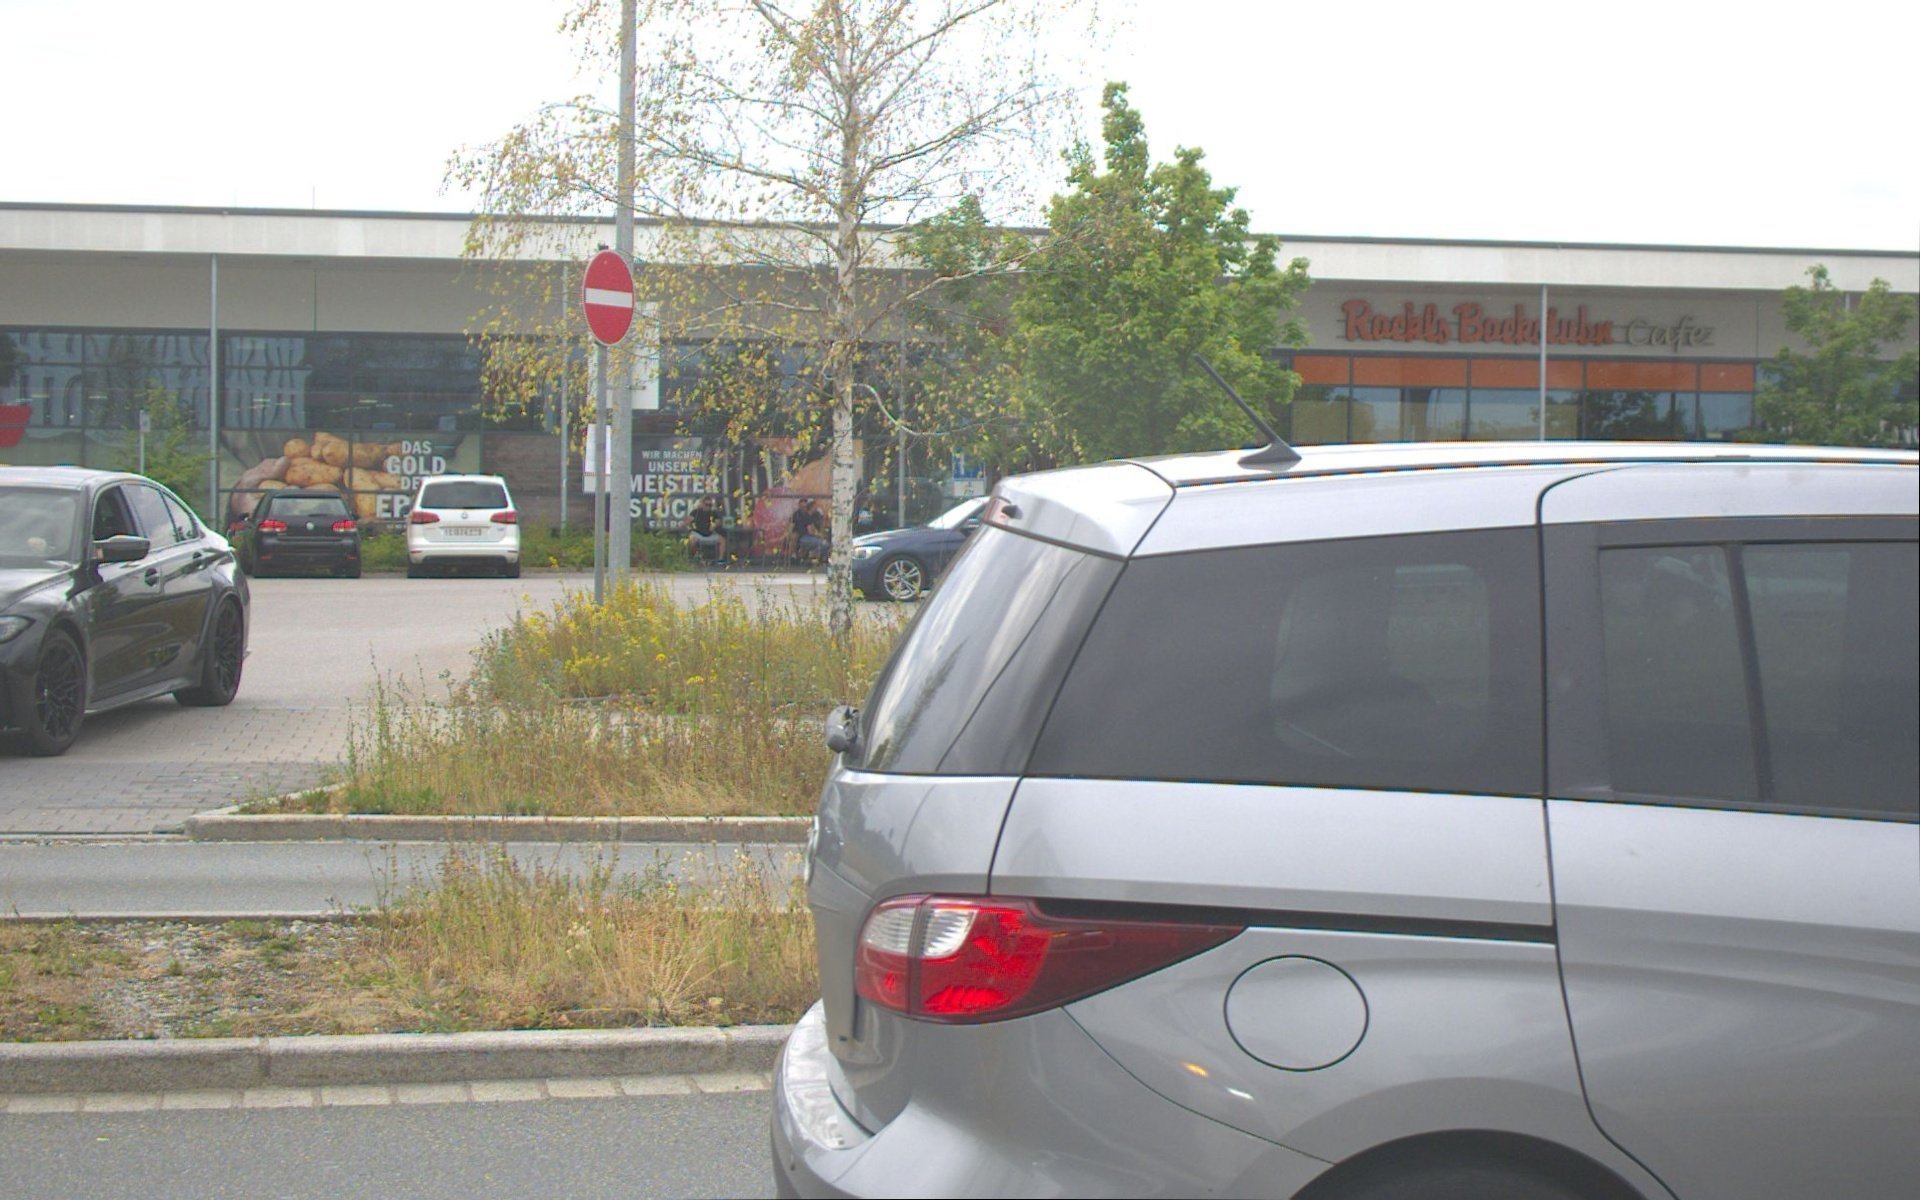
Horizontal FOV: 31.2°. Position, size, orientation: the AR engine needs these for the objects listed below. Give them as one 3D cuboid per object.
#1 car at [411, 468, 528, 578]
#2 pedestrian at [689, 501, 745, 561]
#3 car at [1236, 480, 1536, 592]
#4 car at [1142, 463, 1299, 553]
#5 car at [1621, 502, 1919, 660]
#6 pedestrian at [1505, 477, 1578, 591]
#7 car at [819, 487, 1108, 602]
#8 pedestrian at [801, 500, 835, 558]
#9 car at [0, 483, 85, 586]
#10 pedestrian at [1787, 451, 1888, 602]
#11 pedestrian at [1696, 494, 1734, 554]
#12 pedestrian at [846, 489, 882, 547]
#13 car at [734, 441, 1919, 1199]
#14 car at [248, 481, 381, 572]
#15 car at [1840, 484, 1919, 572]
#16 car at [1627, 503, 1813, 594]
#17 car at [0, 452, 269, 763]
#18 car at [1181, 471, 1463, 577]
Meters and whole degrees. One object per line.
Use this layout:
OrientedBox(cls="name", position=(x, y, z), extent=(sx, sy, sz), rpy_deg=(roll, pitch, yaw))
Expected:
OrientedBox(cls="car", position=(-8.236, -1.326, 57.955), extent=(1.823, 1.694, 4.235), rpy_deg=(1, 3, -7))
OrientedBox(cls="pedestrian", position=(-4.820, -1.374, 68.042), extent=(0.970, 1.150, 1.133), rpy_deg=(0, 2, -11))
OrientedBox(cls="car", position=(5.829, -0.884, 47.194), extent=(3.746, 1.449, 1.668), rpy_deg=(1, 2, -9))
OrientedBox(cls="car", position=(4.537, -1.636, 60.454), extent=(1.993, 1.503, 4.001), rpy_deg=(0, 2, -7))
OrientedBox(cls="car", position=(7.782, -0.220, 32.874), extent=(1.988, 1.379, 4.150), rpy_deg=(1, 2, -1))
OrientedBox(cls="pedestrian", position=(8.491, -0.968, 50.210), extent=(0.821, 1.626, 0.899), rpy_deg=(1, 1, -4))
OrientedBox(cls="car", position=(0.027, -0.755, 45.925), extent=(3.606, 1.449, 1.668), rpy_deg=(1, 2, -10))
OrientedBox(cls="pedestrian", position=(-2.807, -1.407, 67.823), extent=(0.576, 1.120, 0.562), rpy_deg=(0, 2, -13))
OrientedBox(cls="car", position=(-13.847, -0.914, 46.074), extent=(3.986, 1.347, 2.001), rpy_deg=(1, 1, -11))
OrientedBox(cls="pedestrian", position=(11.814, -0.998, 46.302), extent=(1.002, 2.006, 0.866), rpy_deg=(3, 3, 39))
OrientedBox(cls="pedestrian", position=(15.210, -1.530, 69.246), extent=(0.560, 1.197, 0.528), rpy_deg=(0, 2, -9))
OrientedBox(cls="pedestrian", position=(-1.874, -1.600, 67.081), extent=(0.576, 1.120, 0.562), rpy_deg=(0, 2, -13))
OrientedBox(cls="car", position=(1.851, 0.558, 5.581), extent=(4.386, 1.557, 1.822), rpy_deg=(0, 3, -5))
OrientedBox(cls="car", position=(-10.759, -1.249, 57.485), extent=(1.906, 1.439, 4.001), rpy_deg=(0, 2, -7))
OrientedBox(cls="car", position=(17.823, -1.255, 60.563), extent=(3.986, 1.503, 2.001), rpy_deg=(1, 2, -8))
OrientedBox(cls="car", position=(13.543, -0.943, 61.521), extent=(1.993, 1.503, 4.001), rpy_deg=(1, 2, -7))
OrientedBox(cls="car", position=(-5.279, -0.064, 18.941), extent=(1.780, 1.440, 4.610), rpy_deg=(1, 3, 3))
OrientedBox(cls="car", position=(5.248, -1.113, 50.006), extent=(3.746, 1.449, 1.668), rpy_deg=(1, 2, -9))
